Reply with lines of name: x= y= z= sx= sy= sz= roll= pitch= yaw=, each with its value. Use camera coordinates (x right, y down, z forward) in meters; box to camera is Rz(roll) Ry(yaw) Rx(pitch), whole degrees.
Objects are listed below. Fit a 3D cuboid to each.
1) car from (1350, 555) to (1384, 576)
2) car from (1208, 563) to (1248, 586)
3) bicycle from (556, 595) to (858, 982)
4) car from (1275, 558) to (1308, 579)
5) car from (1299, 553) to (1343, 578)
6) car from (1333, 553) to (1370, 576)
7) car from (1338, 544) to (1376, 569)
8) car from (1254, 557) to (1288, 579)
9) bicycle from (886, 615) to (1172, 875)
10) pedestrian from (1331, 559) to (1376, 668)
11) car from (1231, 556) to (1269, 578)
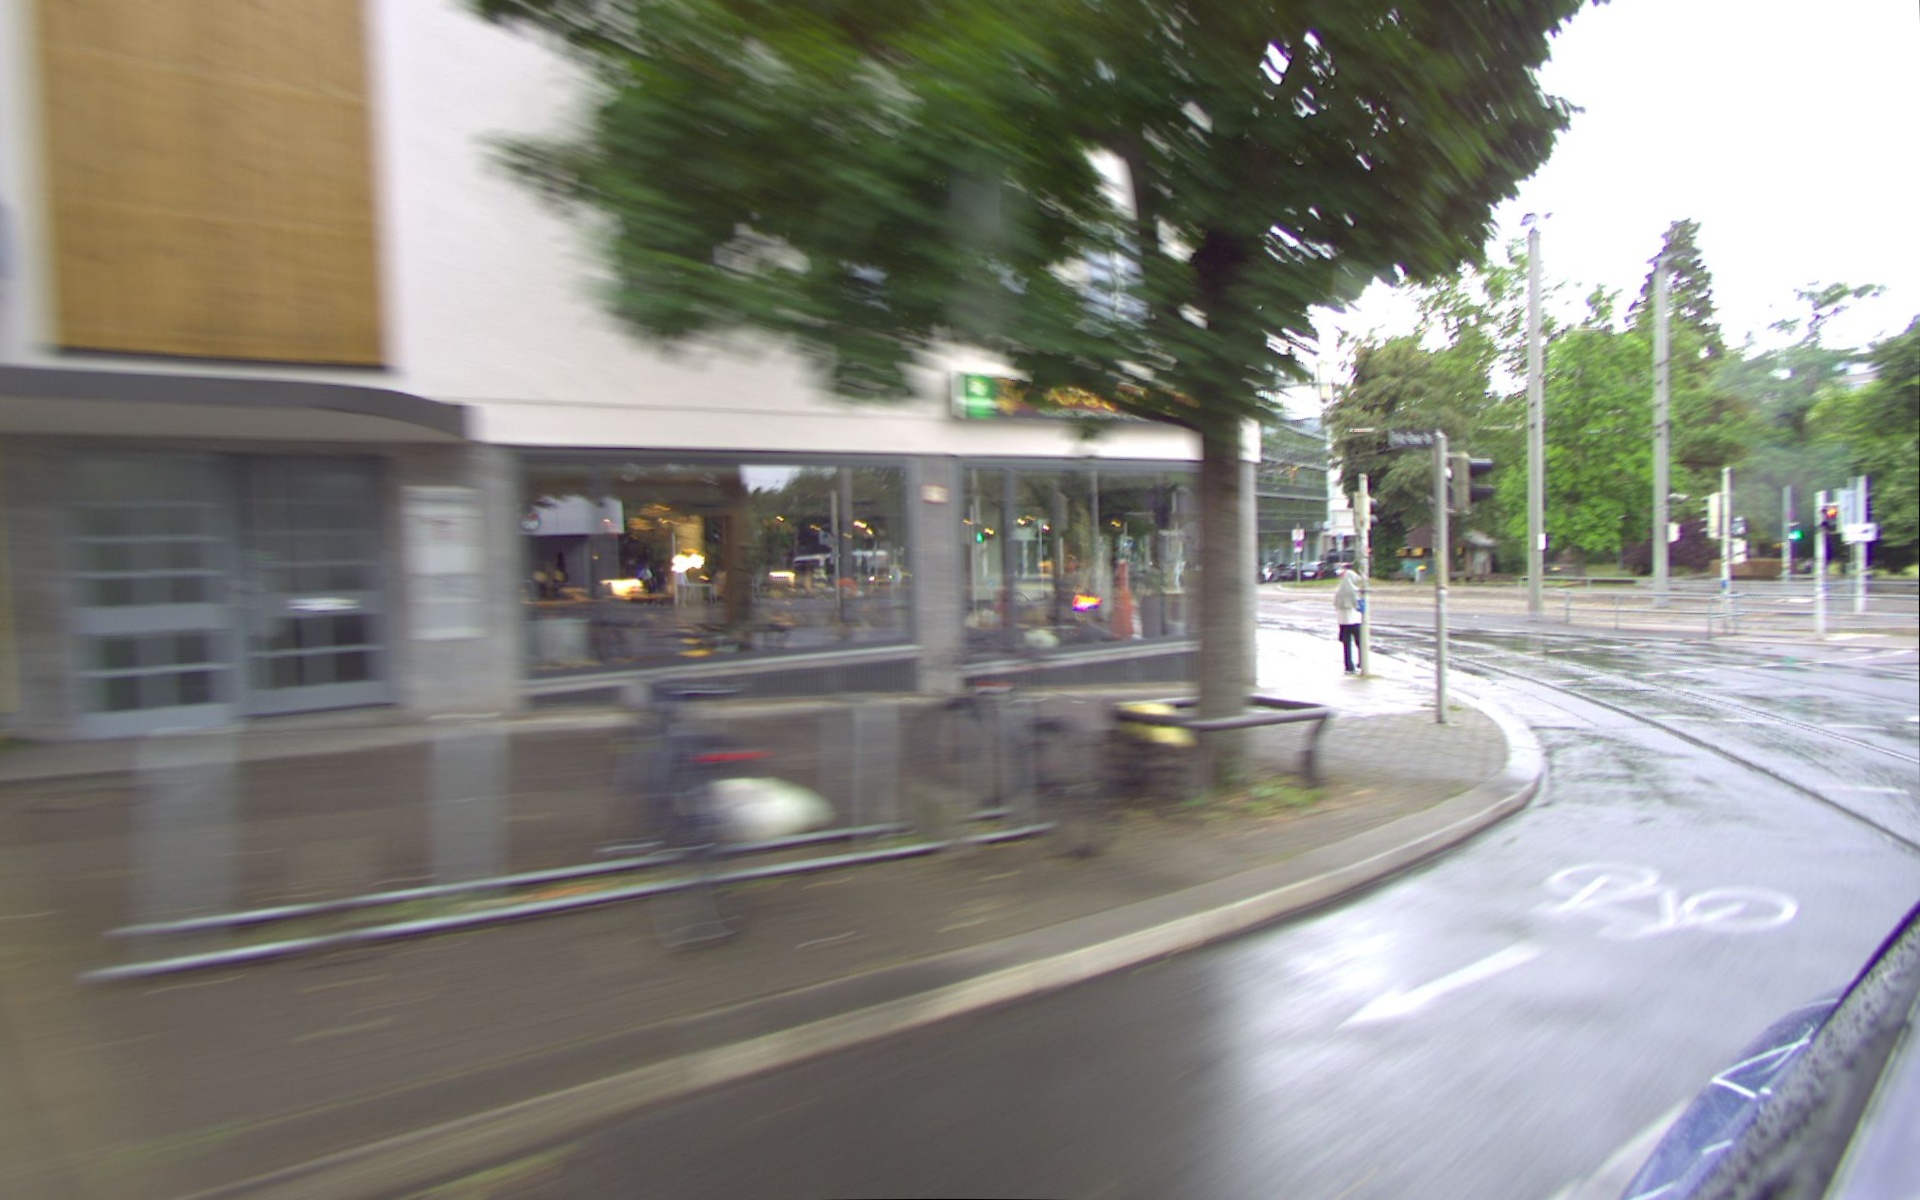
car: x=29.476 y=-2.524 z=73.249 sx=1.690 sy=1.466 sz=3.500 roll=0 pitch=2 yaw=33
car: x=18.679 y=-1.794 z=70.543 sx=1.689 sy=1.472 sz=3.700 roll=0 pitch=2 yaw=32
bicycle: x=-1.237 y=0.612 z=4.458 sx=0.636 sy=1.188 sz=2.326 roll=-2 pitch=3 yaw=-30
car: x=26.663 y=-2.532 z=81.316 sx=1.689 sy=1.574 sz=3.501 roll=0 pitch=2 yaw=32
car: x=22.840 y=-2.200 z=63.931 sx=1.693 sy=1.466 sz=3.494 roll=0 pitch=2 yaw=37
car: x=26.484 y=-2.422 z=68.427 sx=1.690 sy=1.466 sz=3.500 roll=0 pitch=2 yaw=33
car: x=37.805 y=-4.139 z=96.335 sx=2.318 sy=2.248 sz=5.008 roll=0 pitch=2 yaw=35
car: x=23.988 y=-2.487 z=78.026 sx=1.689 sy=1.574 sz=3.501 roll=0 pitch=2 yaw=32
bicycle: x=0.289 y=0.674 z=5.538 sx=0.636 sy=1.105 sz=1.824 roll=0 pitch=1 yaw=-30
pedestrian: x=6.446 y=0.205 z=16.593 sx=0.520 sy=1.733 sz=0.704 roll=-1 pitch=1 yaw=8
car: x=21.127 y=-2.419 z=73.587 sx=1.689 sy=1.472 sz=3.700 roll=0 pitch=2 yaw=32
